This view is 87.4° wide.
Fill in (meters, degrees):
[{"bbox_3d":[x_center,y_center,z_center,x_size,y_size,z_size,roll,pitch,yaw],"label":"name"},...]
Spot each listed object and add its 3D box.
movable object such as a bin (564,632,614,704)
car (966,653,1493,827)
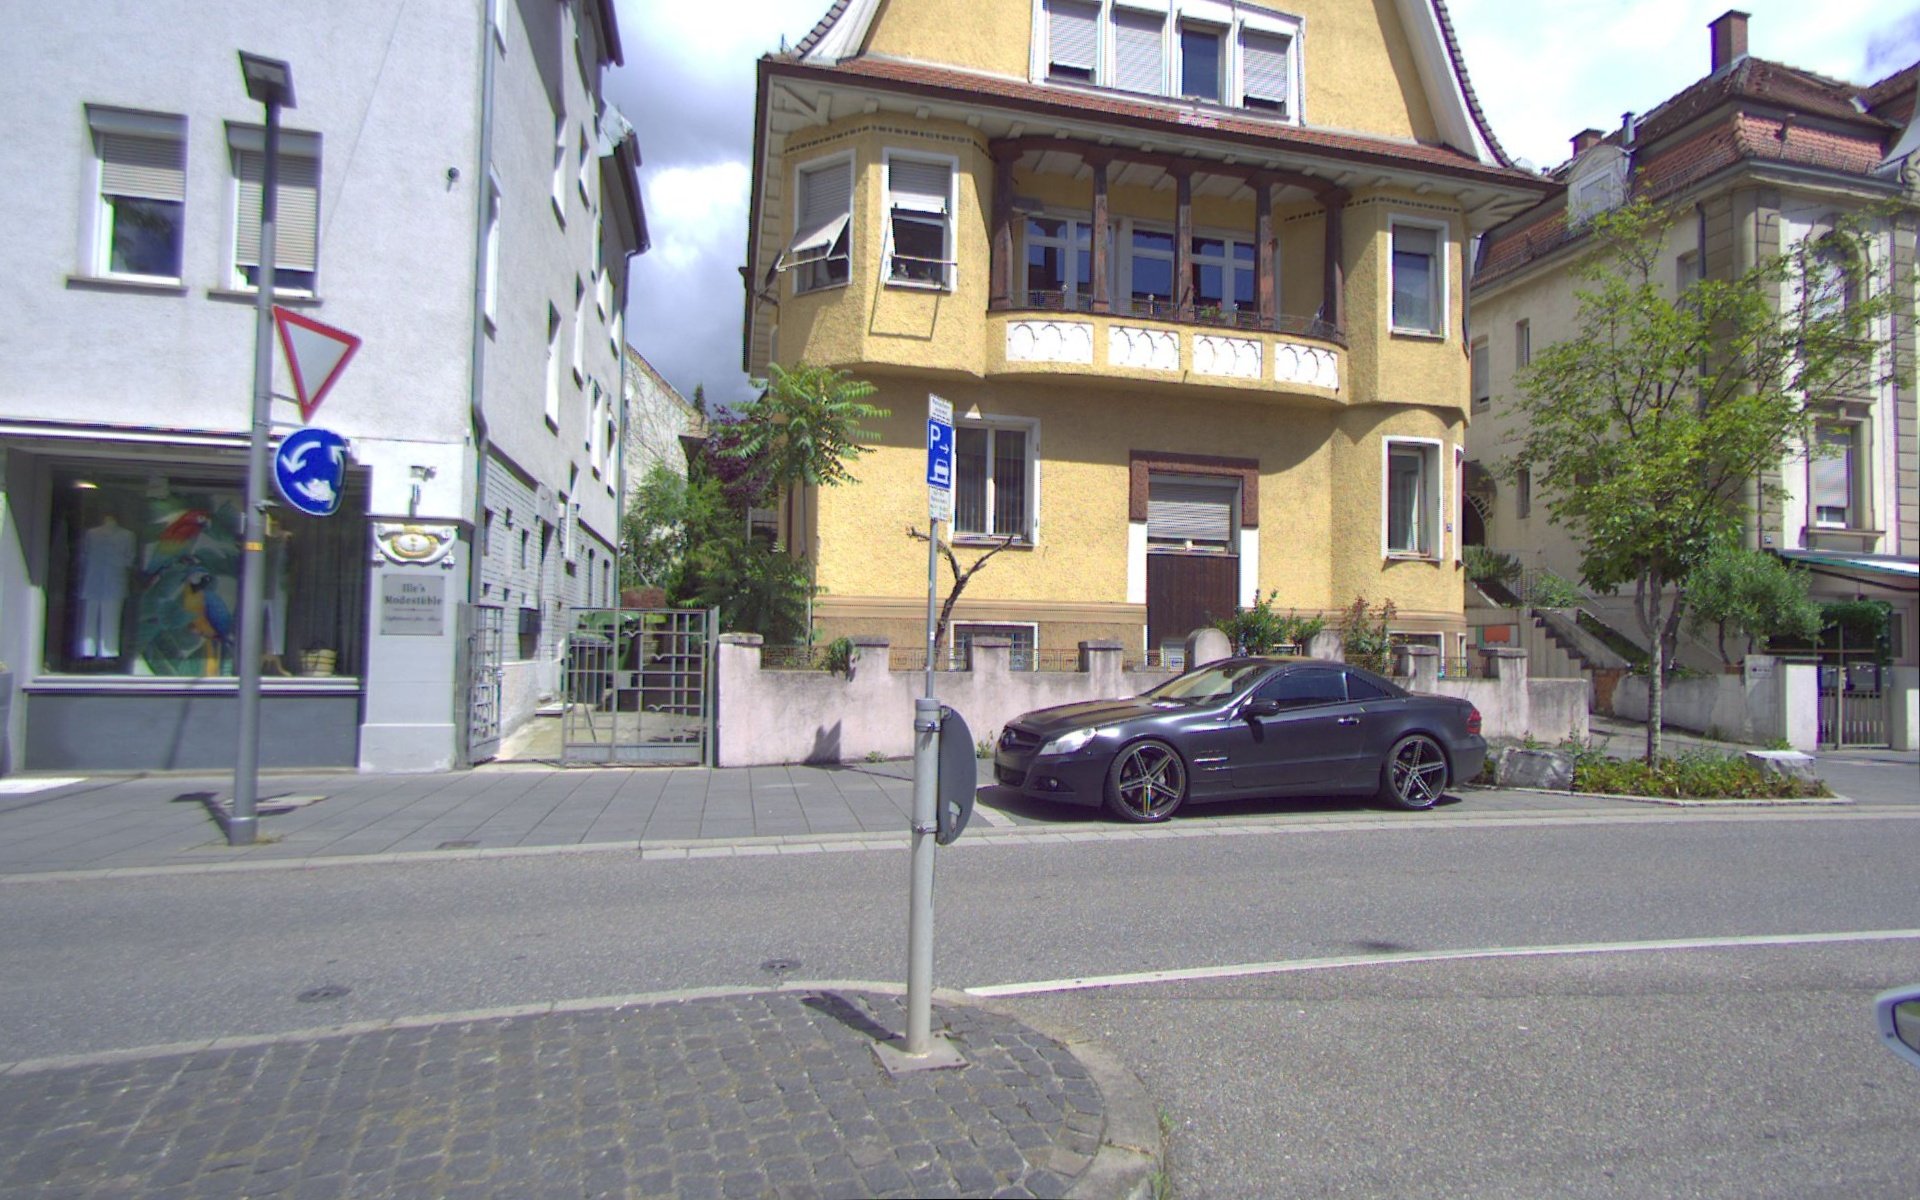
[{"bbox_3d":[-6.218,1.132,16.862,0.702,1.137,0.936,2,0,-17],"label":"movable object such as a bin"},{"bbox_3d":[2.372,1.125,8.998,4.340,1.261,1.709,1,-2,-17],"label":"car"}]
